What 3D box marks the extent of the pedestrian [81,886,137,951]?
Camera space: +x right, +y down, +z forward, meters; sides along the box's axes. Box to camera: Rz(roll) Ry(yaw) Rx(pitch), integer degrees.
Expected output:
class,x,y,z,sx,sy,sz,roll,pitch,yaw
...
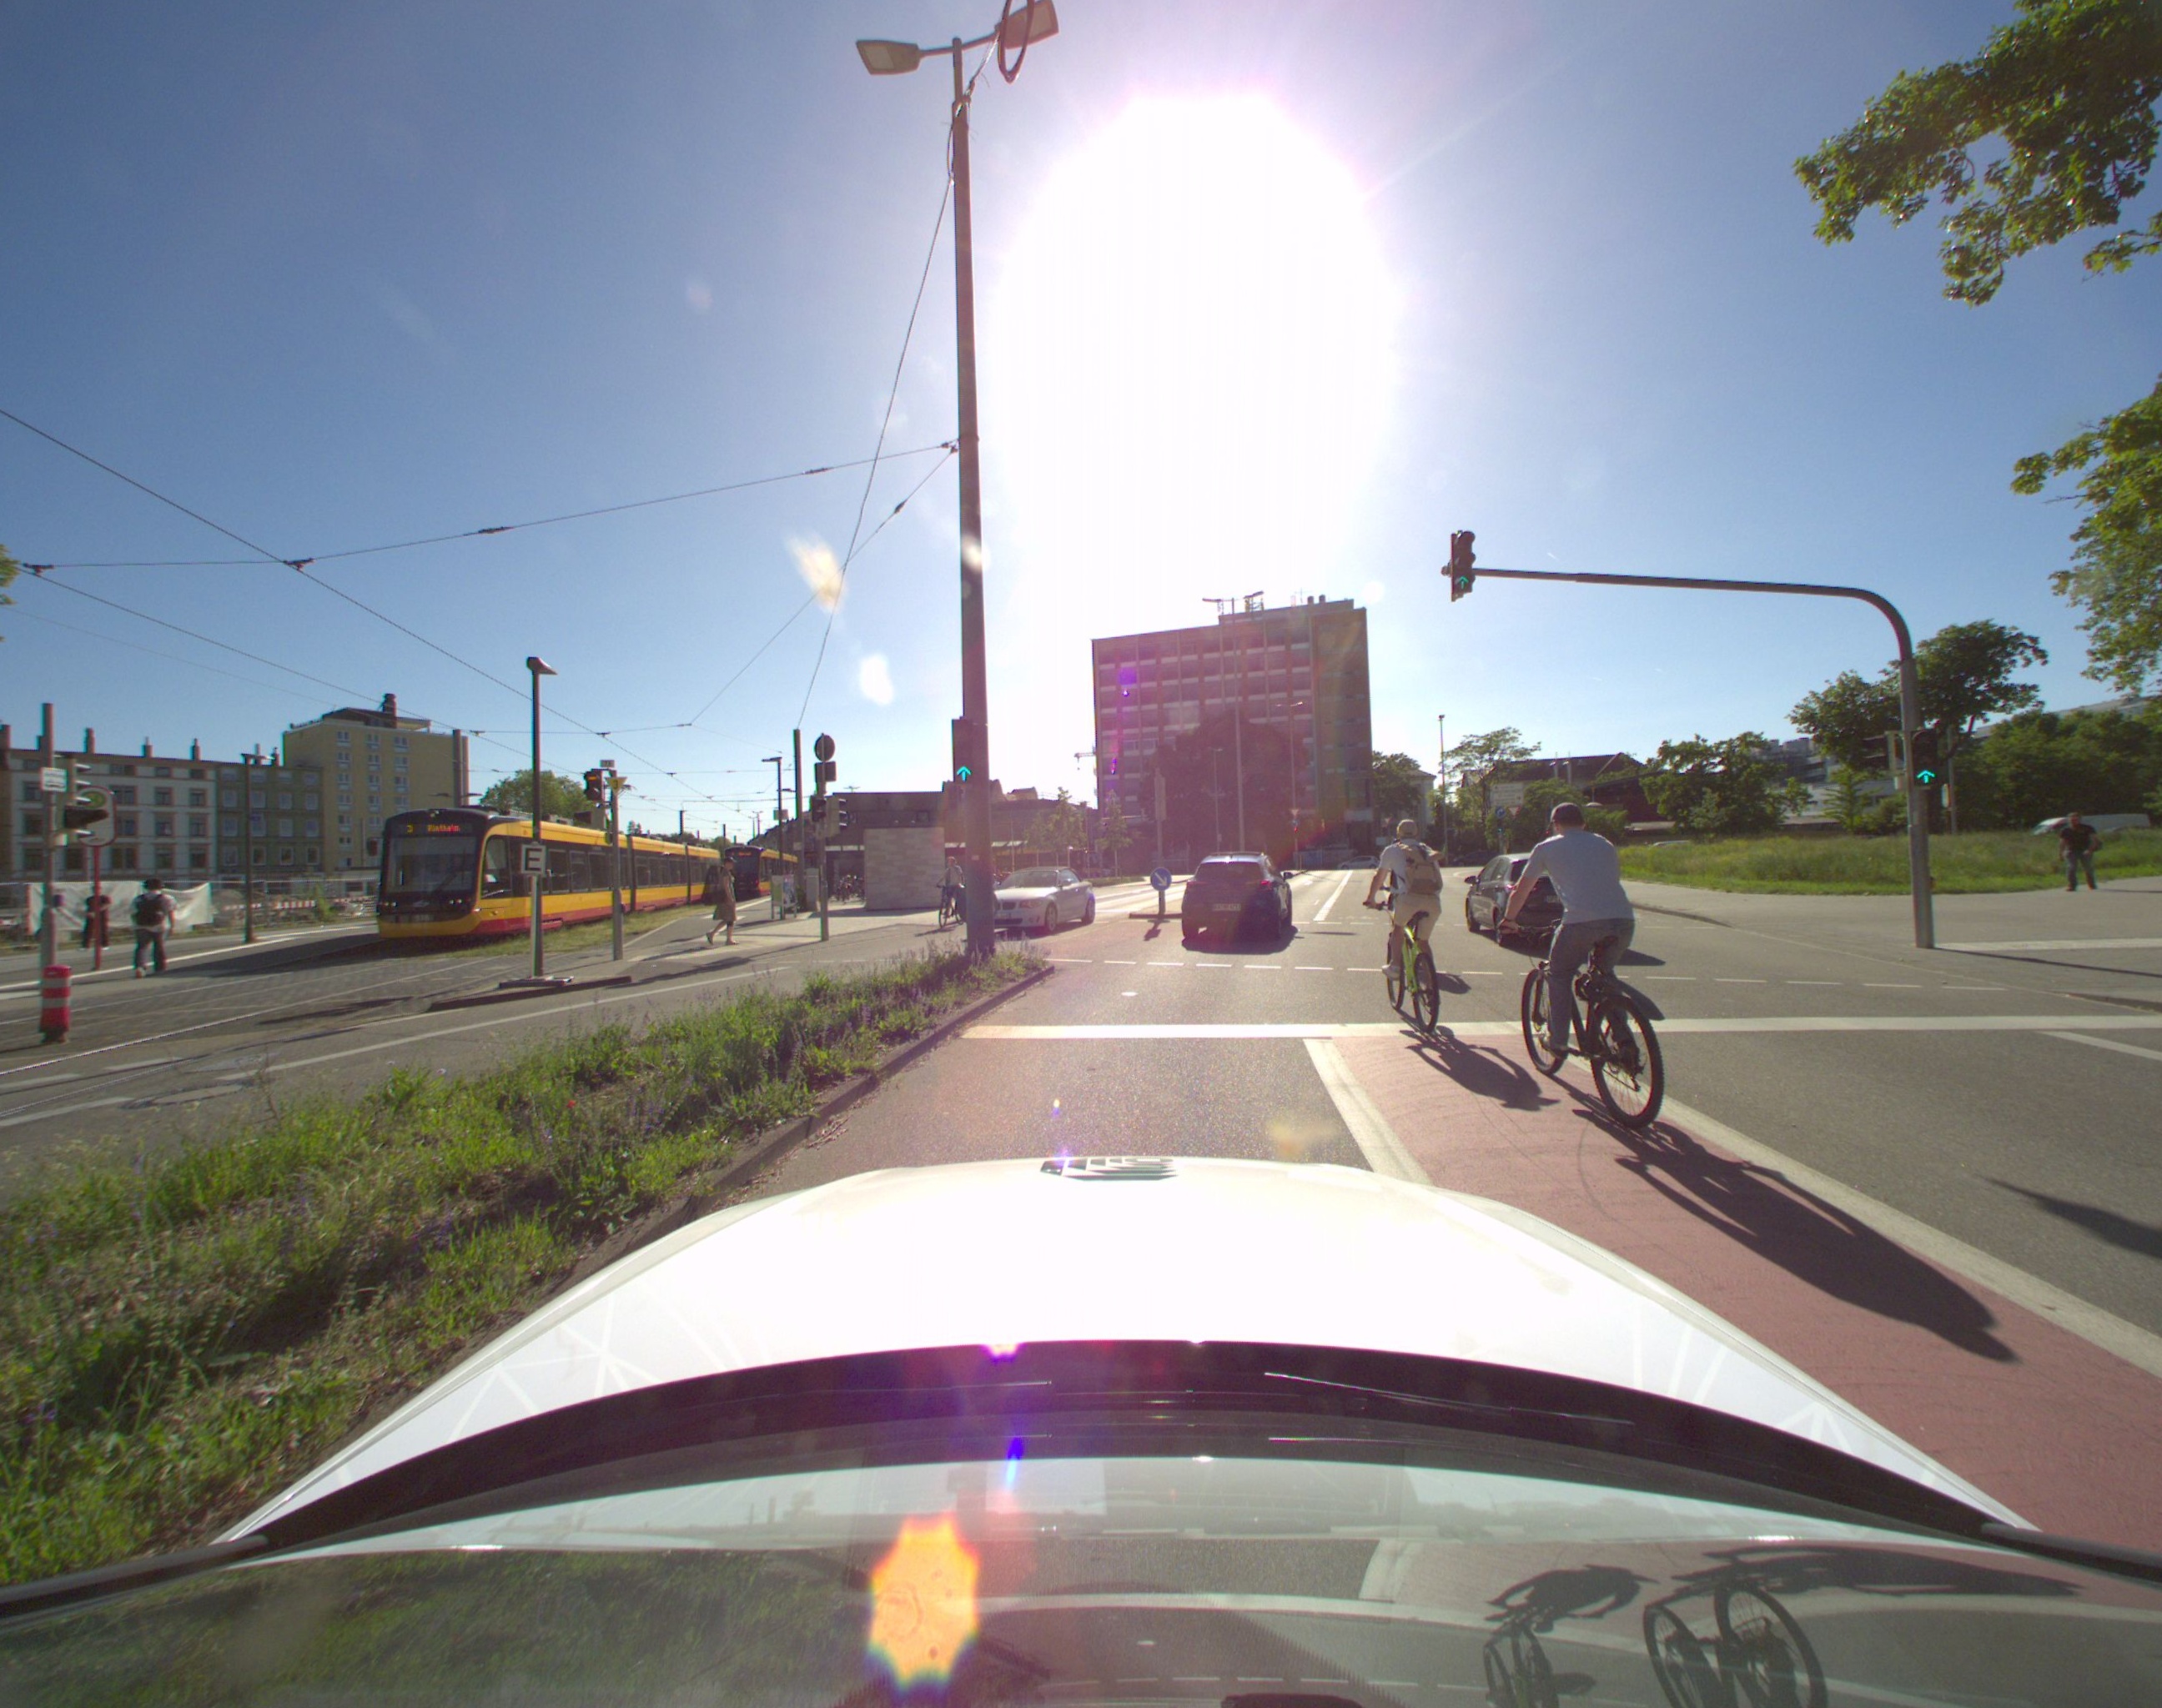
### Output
class,x,y,z,sx,sy,sz,roll,pitch,yaw
pedestrian,-27.797,1.834,23.298,0.669,1.767,0.795,-2,-1,-17

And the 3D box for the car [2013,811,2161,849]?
class,x,y,z,sx,sy,sz,roll,pitch,yaw
car,74.288,-1.757,60.024,7.088,2.423,2.086,-2,-1,25

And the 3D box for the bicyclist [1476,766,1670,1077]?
class,x,y,z,sx,sy,sz,roll,pitch,yaw
bicyclist,3.085,0.395,5.223,0.744,1.776,1.018,-2,-1,14

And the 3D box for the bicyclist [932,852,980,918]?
class,x,y,z,sx,sy,sz,roll,pitch,yaw
bicyclist,-3.226,0.790,21.050,0.874,1.644,1.063,-3,-1,9

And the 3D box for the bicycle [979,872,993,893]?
class,x,y,z,sx,sy,sz,roll,pitch,yaw
bicycle,-5.187,1.553,44.471,0.580,1.088,2.050,-1,-2,-11

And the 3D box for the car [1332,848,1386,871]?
class,x,y,z,sx,sy,sz,roll,pitch,yaw
car,26.668,0.556,78.186,4.606,2.014,2.012,-2,-2,29

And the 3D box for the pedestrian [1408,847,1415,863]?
class,x,y,z,sx,sy,sz,roll,pitch,yaw
pedestrian,34.584,0.088,85.214,0.555,1.670,0.479,-2,-3,35

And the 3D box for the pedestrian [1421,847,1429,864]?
class,x,y,z,sx,sy,sz,roll,pitch,yaw
pedestrian,35.080,0.160,83.057,0.550,1.670,0.479,-2,-3,35

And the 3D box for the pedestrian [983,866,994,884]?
class,x,y,z,sx,sy,sz,roll,pitch,yaw
pedestrian,-8.780,1.999,77.190,0.647,1.741,0.793,-2,-3,35

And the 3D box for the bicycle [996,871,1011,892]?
class,x,y,z,sx,sy,sz,roll,pitch,yaw
bicycle,-3.947,1.396,41.166,0.580,1.052,1.965,-1,-2,-11

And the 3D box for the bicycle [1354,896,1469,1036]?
class,x,y,z,sx,sy,sz,roll,pitch,yaw
bicycle,3.047,0.969,7.683,0.658,1.047,1.896,0,0,11

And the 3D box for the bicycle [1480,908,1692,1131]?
class,x,y,z,sx,sy,sz,roll,pitch,yaw
bicycle,3.161,0.947,5.298,0.606,1.077,1.837,-2,-1,14

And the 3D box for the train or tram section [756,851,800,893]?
class,x,y,z,sx,sy,sz,roll,pitch,yaw
train or tram section,-27.506,1.580,74.344,2.877,3.508,10.484,-1,-1,-16

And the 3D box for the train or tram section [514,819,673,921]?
class,x,y,z,sx,sy,sz,roll,pitch,yaw
train or tram section,-19.550,0.644,33.560,2.822,3.508,10.555,-1,-1,-15

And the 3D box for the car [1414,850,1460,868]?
class,x,y,z,sx,sy,sz,roll,pitch,yaw
car,34.128,0.521,78.113,3.857,1.586,1.891,-2,-2,30

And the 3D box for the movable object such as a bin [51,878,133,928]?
class,x,y,z,sx,sy,sz,roll,pitch,yaw
movable object such as a bin,-57.320,2.823,47.217,3.952,2.796,1.843,-2,-2,22

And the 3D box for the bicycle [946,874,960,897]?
class,x,y,z,sx,sy,sz,roll,pitch,yaw
bicycle,-6.015,1.478,38.326,0.580,1.058,1.809,-1,-2,-11

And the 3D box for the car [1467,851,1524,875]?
class,x,y,z,sx,sy,sz,roll,pitch,yaw
car,36.839,0.795,72.407,4.330,2.014,2.012,-2,-2,29

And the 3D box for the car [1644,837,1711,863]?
class,x,y,z,sx,sy,sz,roll,pitch,yaw
car,50.923,-0.319,69.634,4.306,2.014,2.012,-2,-2,29

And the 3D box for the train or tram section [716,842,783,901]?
class,x,y,z,sx,sy,sz,roll,pitch,yaw
train or tram section,-21.793,1.158,54.088,2.877,3.508,10.484,-1,-1,-16

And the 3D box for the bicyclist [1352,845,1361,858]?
class,x,y,z,sx,sy,sz,roll,pitch,yaw
bicyclist,30.428,-0.262,89.981,0.809,1.444,0.624,-2,-1,26

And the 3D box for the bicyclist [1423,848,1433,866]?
class,x,y,z,sx,sy,sz,roll,pitch,yaw
bicyclist,36.646,0.285,86.009,0.848,1.846,0.856,-2,-2,28

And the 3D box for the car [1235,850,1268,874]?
class,x,y,z,sx,sy,sz,roll,pitch,yaw
car,12.581,0.580,59.890,1.803,1.568,4.270,-4,-1,19

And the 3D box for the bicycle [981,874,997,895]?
class,x,y,z,sx,sy,sz,roll,pitch,yaw
bicycle,-4.404,1.467,38.864,0.580,0.961,2.050,-1,-2,-11

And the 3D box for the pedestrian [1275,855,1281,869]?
class,x,y,z,sx,sy,sz,roll,pitch,yaw
pedestrian,22.698,0.941,93.720,0.555,1.670,0.479,-2,-3,35

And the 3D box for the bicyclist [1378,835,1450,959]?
class,x,y,z,sx,sy,sz,roll,pitch,yaw
bicyclist,4.570,0.573,11.250,0.717,1.626,1.058,-1,-1,12

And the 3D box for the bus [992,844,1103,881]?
class,x,y,z,sx,sy,sz,roll,pitch,yaw
bus,-3.564,0.929,82.630,12.284,3.396,2.900,-2,-3,38

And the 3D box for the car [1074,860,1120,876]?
class,x,y,z,sx,sy,sz,roll,pitch,yaw
car,1.612,1.467,82.819,4.354,1.522,1.982,-2,-2,36

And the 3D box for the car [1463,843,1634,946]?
class,x,y,z,sx,sy,sz,roll,pitch,yaw
car,7.934,0.649,14.194,1.742,1.542,3.674,-1,-1,16

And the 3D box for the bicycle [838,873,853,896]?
class,x,y,z,sx,sy,sz,roll,pitch,yaw
bicycle,-11.943,1.552,41.303,0.566,1.093,2.020,0,-2,-13

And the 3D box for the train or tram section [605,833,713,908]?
class,x,y,z,sx,sy,sz,roll,pitch,yaw
train or tram section,-22.357,0.881,43.870,2.822,3.508,11.151,-1,-1,-15

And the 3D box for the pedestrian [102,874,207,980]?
class,x,y,z,sx,sy,sz,roll,pitch,yaw
pedestrian,-17.038,1.313,15.012,0.759,1.832,1.014,-4,-1,-15

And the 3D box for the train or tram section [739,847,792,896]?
class,x,y,z,sx,sy,sz,roll,pitch,yaw
train or tram section,-24.665,1.349,64.185,2.877,3.508,10.484,-1,-1,-16

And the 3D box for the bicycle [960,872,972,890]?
class,x,y,z,sx,sy,sz,roll,pitch,yaw
bicycle,-7.340,1.712,51.774,0.581,1.088,1.863,0,-2,-13

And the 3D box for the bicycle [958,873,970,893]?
class,x,y,z,sx,sy,sz,roll,pitch,yaw
bicycle,-6.390,1.570,44.344,0.580,1.088,2.050,-1,-2,-11

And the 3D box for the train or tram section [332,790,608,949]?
class,x,y,z,sx,sy,sz,roll,pitch,yaw
train or tram section,-16.756,0.419,23.566,2.824,3.508,10.419,-2,-1,-16

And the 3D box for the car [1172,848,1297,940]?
class,x,y,z,sx,sy,sz,roll,pitch,yaw
car,3.143,0.713,16.126,1.808,1.600,3.677,-1,-1,20

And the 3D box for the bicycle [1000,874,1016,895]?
class,x,y,z,sx,sy,sz,roll,pitch,yaw
bicycle,-3.528,1.462,39.146,0.580,0.961,2.050,-1,-2,-11

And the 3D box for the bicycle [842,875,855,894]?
class,x,y,z,sx,sy,sz,roll,pitch,yaw
bicycle,-13.568,1.786,47.533,0.566,1.093,2.020,0,-2,-13

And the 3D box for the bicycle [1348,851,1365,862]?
class,x,y,z,sx,sy,sz,roll,pitch,yaw
bicycle,30.467,0.258,89.947,1.650,1.093,0.614,-3,-1,26

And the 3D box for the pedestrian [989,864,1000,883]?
class,x,y,z,sx,sy,sz,roll,pitch,yaw
pedestrian,-7.996,1.778,75.334,0.618,1.741,0.793,-2,-3,35

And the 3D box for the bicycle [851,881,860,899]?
class,x,y,z,sx,sy,sz,roll,pitch,yaw
bicycle,-11.932,1.907,43.016,0.422,0.938,1.298,0,-1,-17

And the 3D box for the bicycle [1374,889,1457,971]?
class,x,y,z,sx,sy,sz,roll,pitch,yaw
bicycle,4.576,1.006,11.270,0.717,0.960,1.890,-1,-1,12

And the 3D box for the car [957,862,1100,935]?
class,x,y,z,sx,sy,sz,roll,pitch,yaw
car,-1.059,0.939,18.660,1.785,1.393,4.112,-2,0,19

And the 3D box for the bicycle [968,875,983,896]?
class,x,y,z,sx,sy,sz,roll,pitch,yaw
bicycle,-5.011,1.474,38.748,0.580,0.961,2.050,-1,-2,-11

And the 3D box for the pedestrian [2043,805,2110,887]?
class,x,y,z,sx,sy,sz,roll,pitch,yaw
pedestrian,23.113,-0.178,18.904,1.053,1.832,0.753,-2,-2,-31

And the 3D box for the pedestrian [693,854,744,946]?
class,x,y,z,sx,sy,sz,roll,pitch,yaw
pedestrian,-7.641,0.935,17.193,0.903,1.850,0.758,-2,1,-24

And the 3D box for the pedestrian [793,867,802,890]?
class,x,y,z,sx,sy,sz,roll,pitch,yaw
pedestrian,-22.745,1.960,65.357,0.634,1.857,0.698,0,-2,-21

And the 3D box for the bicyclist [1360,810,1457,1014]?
class,x,y,z,sx,sy,sz,roll,pitch,yaw
bicyclist,3.003,0.497,7.551,0.659,1.747,1.008,0,0,11

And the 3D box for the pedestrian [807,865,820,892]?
class,x,y,z,sx,sy,sz,roll,pitch,yaw
pedestrian,-19.359,1.782,58.927,0.849,1.883,0.756,0,-2,-18

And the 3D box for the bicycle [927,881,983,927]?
class,x,y,z,sx,sy,sz,roll,pitch,yaw
bicycle,-3.222,1.260,21.041,0.768,1.080,2.041,-3,-1,9
